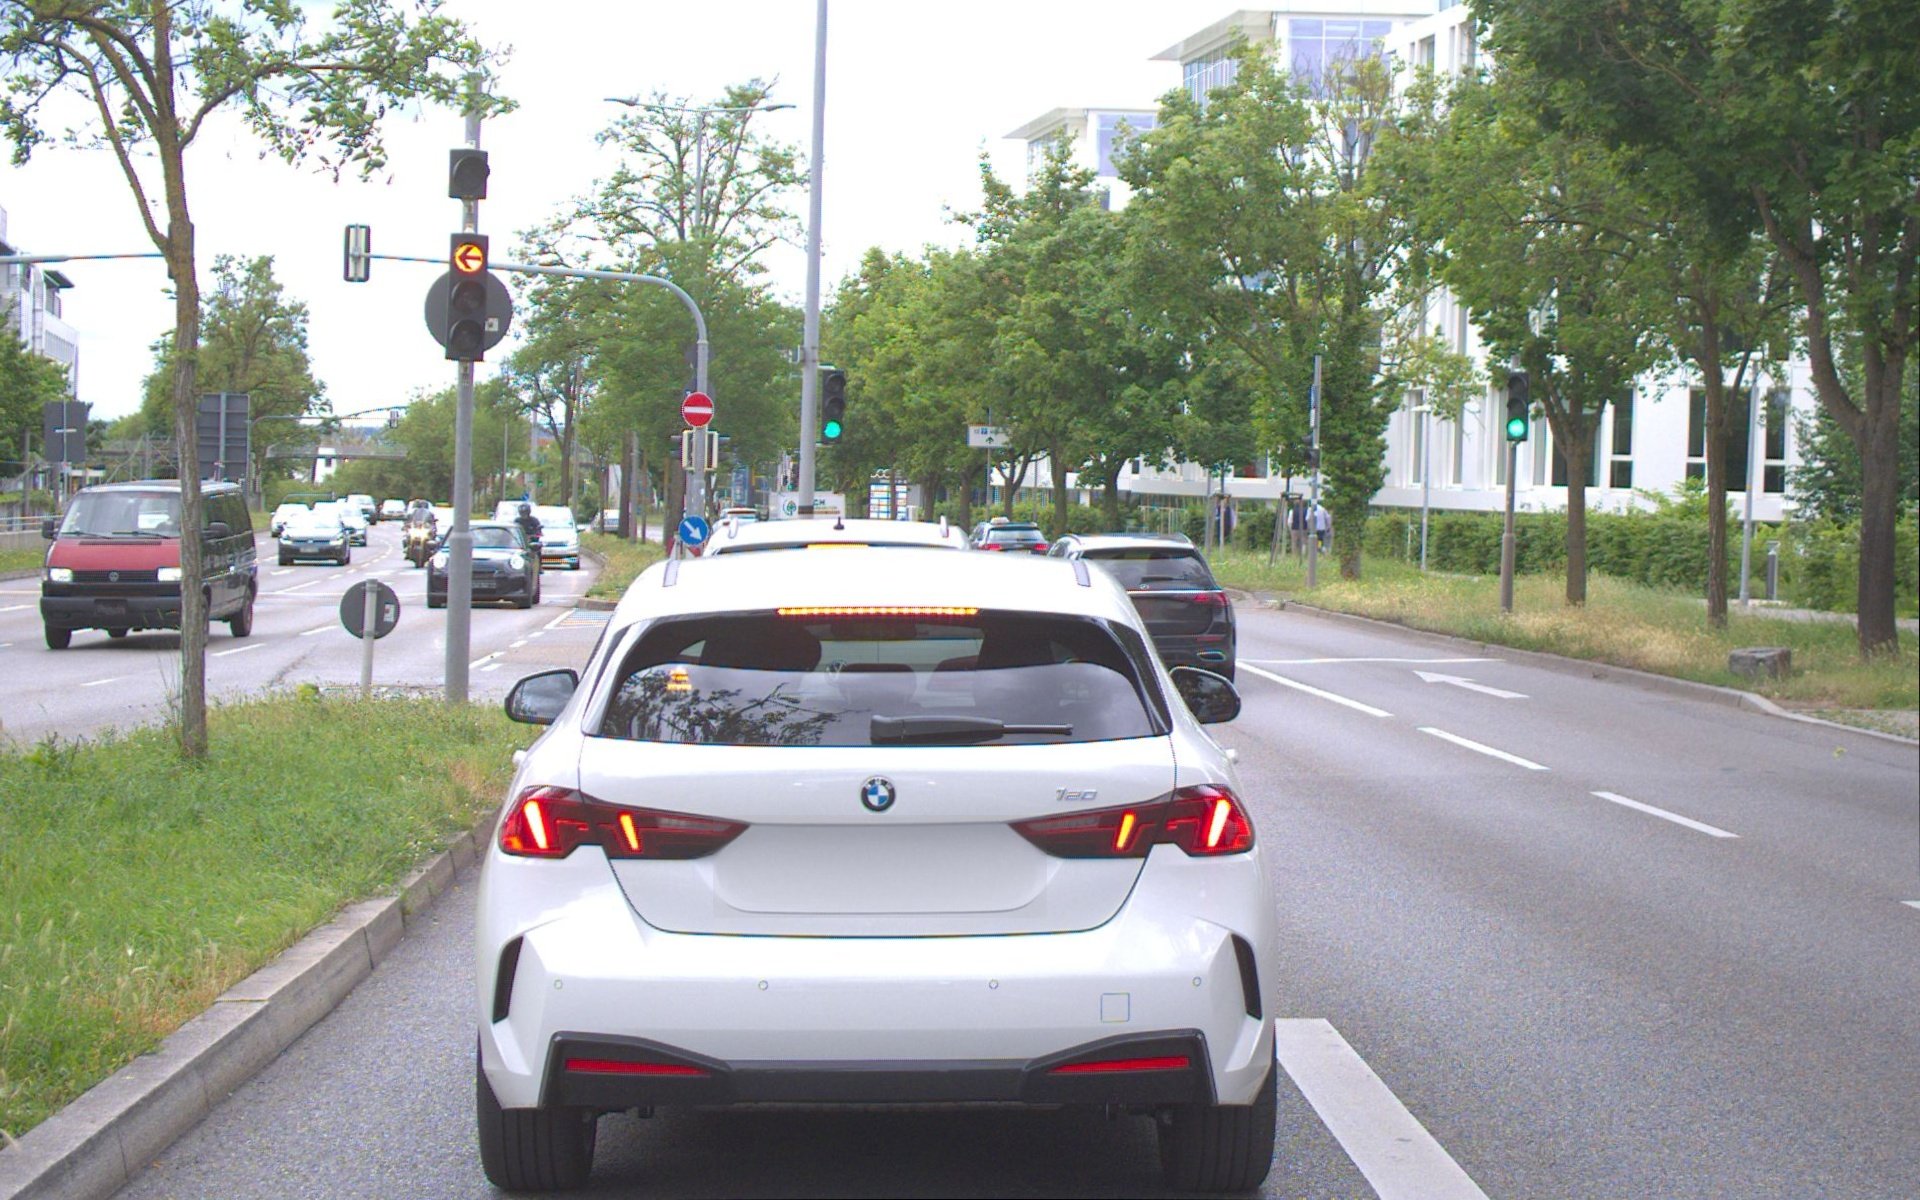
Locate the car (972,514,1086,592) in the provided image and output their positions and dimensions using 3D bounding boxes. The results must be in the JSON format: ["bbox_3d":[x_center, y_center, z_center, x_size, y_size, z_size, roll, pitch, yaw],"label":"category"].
[{"bbox_3d":[1.440,-1.022,73.457,1.993,1.590,4.001,1,1,-5],"label":"car"}]

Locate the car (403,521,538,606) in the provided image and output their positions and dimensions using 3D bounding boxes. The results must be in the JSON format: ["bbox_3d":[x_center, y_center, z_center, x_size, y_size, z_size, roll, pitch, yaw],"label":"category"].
[{"bbox_3d":[-8.122,-0.632,57.321,1.754,1.366,3.780,0,1,-1],"label":"car"}]

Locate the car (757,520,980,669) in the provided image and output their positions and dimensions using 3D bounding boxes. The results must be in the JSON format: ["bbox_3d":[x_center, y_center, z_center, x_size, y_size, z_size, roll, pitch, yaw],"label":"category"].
[{"bbox_3d":[-0.946,-0.080,37.853,1.994,1.503,3.999,1,1,5],"label":"car"}]

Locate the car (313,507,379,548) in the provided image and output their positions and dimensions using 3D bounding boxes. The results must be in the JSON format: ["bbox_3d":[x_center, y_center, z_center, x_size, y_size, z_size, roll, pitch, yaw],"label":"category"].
[{"bbox_3d":[-21.905,-2.593,122.714,1.708,1.414,3.803,0,1,-1],"label":"car"}]

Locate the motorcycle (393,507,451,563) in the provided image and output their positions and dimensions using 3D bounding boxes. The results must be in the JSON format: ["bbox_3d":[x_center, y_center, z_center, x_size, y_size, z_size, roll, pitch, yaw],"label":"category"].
[{"bbox_3d":[-13.835,-1.678,88.485,0.889,1.393,4.000,1,1,-1],"label":"motorcycle"}]

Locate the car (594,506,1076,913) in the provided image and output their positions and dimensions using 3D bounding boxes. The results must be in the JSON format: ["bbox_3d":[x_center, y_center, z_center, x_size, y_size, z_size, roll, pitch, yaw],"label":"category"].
[{"bbox_3d":[-0.521,0.437,16.489,1.993,1.666,4.000,1,1,0],"label":"car"}]

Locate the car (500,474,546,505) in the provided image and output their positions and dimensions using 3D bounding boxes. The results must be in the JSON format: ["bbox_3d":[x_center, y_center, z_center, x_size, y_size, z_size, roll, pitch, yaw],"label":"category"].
[{"bbox_3d":[-24.385,-6.148,191.906,1.993,1.612,4.000,3,1,-1],"label":"car"}]

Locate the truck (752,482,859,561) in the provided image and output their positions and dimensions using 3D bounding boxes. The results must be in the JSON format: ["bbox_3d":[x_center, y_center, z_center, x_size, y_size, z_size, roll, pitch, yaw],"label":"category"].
[{"bbox_3d":[-5.242,-2.615,115.647,2.858,2.511,6.289,1,1,-9],"label":"truck"}]

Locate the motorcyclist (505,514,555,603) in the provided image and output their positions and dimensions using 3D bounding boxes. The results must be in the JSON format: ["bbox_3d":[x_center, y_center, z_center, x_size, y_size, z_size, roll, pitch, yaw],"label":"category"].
[{"bbox_3d":[-8.977,-0.865,71.798,0.848,1.830,1.259,1,1,-1],"label":"motorcyclist"}]

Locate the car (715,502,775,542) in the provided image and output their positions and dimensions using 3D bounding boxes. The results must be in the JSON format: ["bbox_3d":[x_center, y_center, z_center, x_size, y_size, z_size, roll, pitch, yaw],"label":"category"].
[{"bbox_3d":[-8.397,-3.027,134.013,1.993,1.503,4.001,1,1,-8],"label":"car"}]

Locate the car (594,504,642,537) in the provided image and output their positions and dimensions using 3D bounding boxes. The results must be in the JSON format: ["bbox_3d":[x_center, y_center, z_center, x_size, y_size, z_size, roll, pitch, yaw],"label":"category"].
[{"bbox_3d":[-16.120,-3.765,162.217,1.993,1.485,4.001,2,1,-3],"label":"car"}]

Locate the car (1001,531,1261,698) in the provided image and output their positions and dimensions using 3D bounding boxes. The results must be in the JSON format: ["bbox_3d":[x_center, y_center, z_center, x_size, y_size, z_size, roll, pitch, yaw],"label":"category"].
[{"bbox_3d":[1.572,0.077,33.396,2.053,1.481,4.974,0,1,-3],"label":"car"}]

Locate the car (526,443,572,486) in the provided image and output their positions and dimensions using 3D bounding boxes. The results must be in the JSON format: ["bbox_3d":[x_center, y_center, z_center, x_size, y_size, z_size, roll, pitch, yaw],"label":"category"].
[{"bbox_3d":[-20.882,-6.861,174.855,1.993,2.004,4.325,3,1,-3],"label":"car"}]

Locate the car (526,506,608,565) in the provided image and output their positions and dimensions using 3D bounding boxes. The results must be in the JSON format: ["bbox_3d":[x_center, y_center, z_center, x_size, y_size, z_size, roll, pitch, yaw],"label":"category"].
[{"bbox_3d":[-10.126,-1.674,88.746,1.708,1.492,3.803,0,1,-1],"label":"car"}]

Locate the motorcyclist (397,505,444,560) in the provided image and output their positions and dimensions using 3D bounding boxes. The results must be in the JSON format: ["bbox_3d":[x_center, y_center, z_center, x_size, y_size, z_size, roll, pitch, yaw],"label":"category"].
[{"bbox_3d":[-13.841,-1.734,88.234,0.910,1.387,1.674,1,1,-1],"label":"motorcyclist"}]

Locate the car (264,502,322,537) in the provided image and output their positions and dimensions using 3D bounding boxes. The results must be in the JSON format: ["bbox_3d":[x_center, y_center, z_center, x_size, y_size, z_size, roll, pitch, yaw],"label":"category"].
[{"bbox_3d":[-27.951,-3.364,144.123,1.708,1.414,3.803,0,1,-1],"label":"car"}]

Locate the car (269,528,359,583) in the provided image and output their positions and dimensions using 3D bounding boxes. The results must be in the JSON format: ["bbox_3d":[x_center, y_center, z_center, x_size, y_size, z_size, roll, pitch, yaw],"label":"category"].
[{"bbox_3d":[-17.028,-1.192,90.799,1.708,1.414,3.803,0,1,-1],"label":"car"}]

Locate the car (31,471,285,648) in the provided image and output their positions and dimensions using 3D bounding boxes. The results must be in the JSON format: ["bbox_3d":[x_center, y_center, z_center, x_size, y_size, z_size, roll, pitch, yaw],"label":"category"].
[{"bbox_3d":[-9.600,-0.555,41.545,1.935,1.911,4.974,1,3,-1],"label":"car"}]

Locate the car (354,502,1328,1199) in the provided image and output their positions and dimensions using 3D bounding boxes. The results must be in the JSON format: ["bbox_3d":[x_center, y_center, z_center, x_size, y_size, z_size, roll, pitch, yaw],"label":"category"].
[{"bbox_3d":[-0.176,0.530,8.672,1.863,1.444,4.000,1,1,2],"label":"car"}]

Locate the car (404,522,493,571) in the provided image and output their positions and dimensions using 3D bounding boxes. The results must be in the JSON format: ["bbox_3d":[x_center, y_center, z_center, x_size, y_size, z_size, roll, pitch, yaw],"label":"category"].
[{"bbox_3d":[-14.697,-1.550,98.983,1.993,1.349,4.000,1,1,-1],"label":"car"}]
